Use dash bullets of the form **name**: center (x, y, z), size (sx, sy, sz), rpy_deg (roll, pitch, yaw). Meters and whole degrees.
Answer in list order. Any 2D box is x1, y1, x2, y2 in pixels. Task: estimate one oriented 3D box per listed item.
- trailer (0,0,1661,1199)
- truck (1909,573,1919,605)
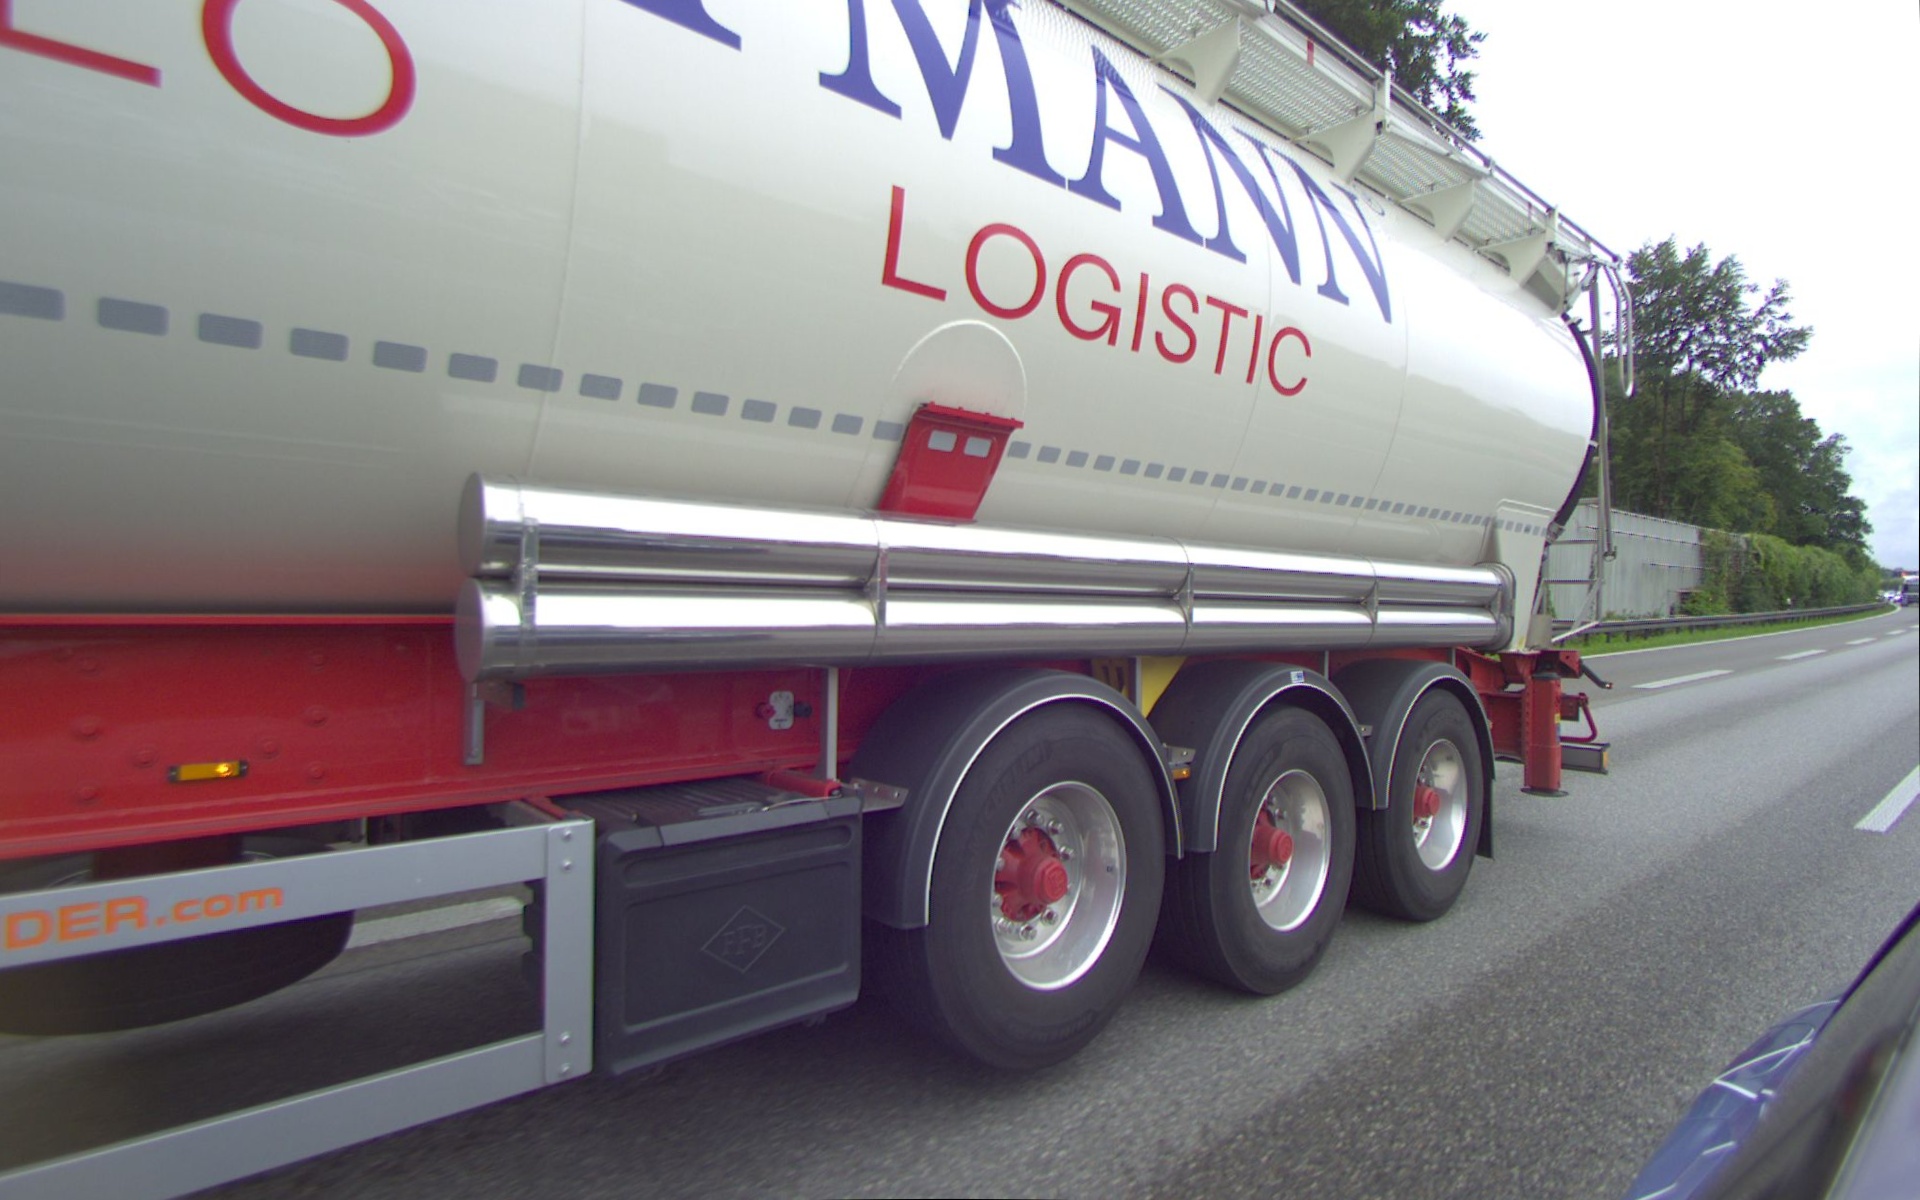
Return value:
- **trailer**: center (-1.221, -0.613, 3.260), size (12.901, 3.988, 2.673), rpy_deg (0, 1, -41)
- **truck**: center (119.966, -1.389, 125.678), size (2.699, 3.757, 8.122), rpy_deg (1, 2, 41)
